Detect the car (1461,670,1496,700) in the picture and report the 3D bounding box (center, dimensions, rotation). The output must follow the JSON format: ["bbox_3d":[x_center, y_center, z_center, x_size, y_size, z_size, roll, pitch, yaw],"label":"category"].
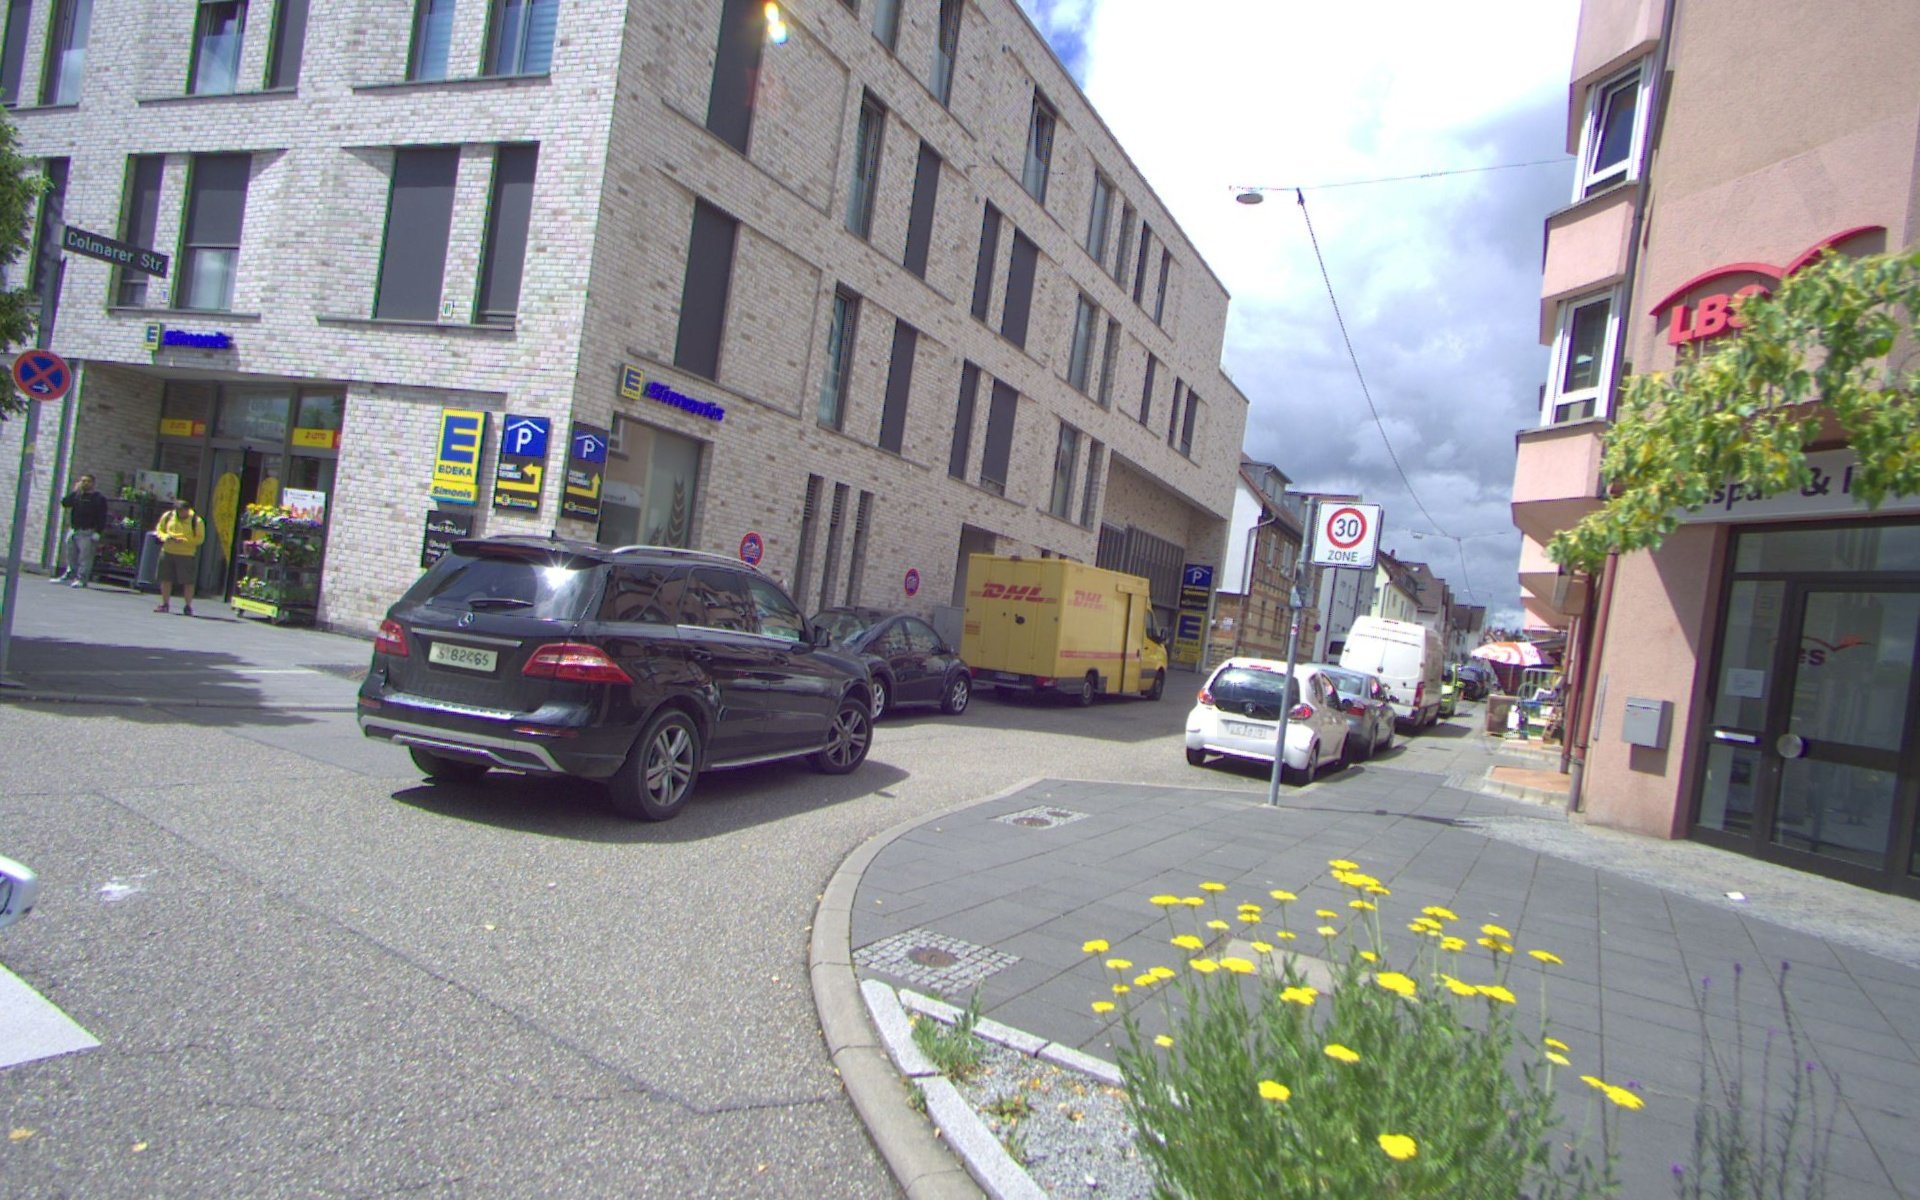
[{"bbox_3d":[33.777,5.524,65.541,1.604,1.662,3.769,8,0,31],"label":"car"}]

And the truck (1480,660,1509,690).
[{"bbox_3d":[43.802,6.150,82.370,1.604,2.161,5.378,8,0,31],"label":"truck"}]

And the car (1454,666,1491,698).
[{"bbox_3d":[31.237,4.967,61.285,1.604,1.662,3.769,8,0,31],"label":"car"}]

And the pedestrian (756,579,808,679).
[{"bbox_3d":[-2.985,0.499,16.890,0.592,1.591,0.523,7,-2,0],"label":"pedestrian"}]

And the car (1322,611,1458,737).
[{"bbox_3d":[10.987,1.861,25.410,2.092,2.585,5.893,8,0,31],"label":"car"}]

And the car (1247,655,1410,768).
[{"bbox_3d":[6.539,1.867,17.587,1.802,1.495,4.014,7,0,31],"label":"car"}]

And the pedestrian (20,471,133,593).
[{"bbox_3d":[-14.014,-1.052,15.983,0.647,1.762,1.018,7,0,16],"label":"pedestrian"}]

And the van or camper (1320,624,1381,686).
[{"bbox_3d":[20.611,2.937,52.956,2.019,2.737,5.160,6,-3,30],"label":"van or camper"}]

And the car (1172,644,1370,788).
[{"bbox_3d":[4.370,1.511,13.819,1.690,1.495,3.385,7,0,31],"label":"car"}]

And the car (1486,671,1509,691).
[{"bbox_3d":[51.937,7.823,97.147,1.604,1.662,3.769,8,0,31],"label":"car"}]

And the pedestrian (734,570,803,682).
[{"bbox_3d":[-3.081,0.428,16.252,0.801,1.690,0.556,7,-2,-1],"label":"pedestrian"}]

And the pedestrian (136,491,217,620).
[{"bbox_3d":[-11.103,-0.626,14.284,0.652,1.713,0.627,7,0,-30],"label":"pedestrian"}]

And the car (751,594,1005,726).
[{"bbox_3d":[-1.048,0.880,14.876,1.753,1.495,3.901,7,0,29],"label":"car"}]

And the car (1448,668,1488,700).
[{"bbox_3d":[28.500,4.717,56.413,1.604,1.495,3.769,7,0,31],"label":"car"}]

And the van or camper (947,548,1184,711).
[{"bbox_3d":[2.526,0.692,21.360,2.238,2.770,6.864,6,0,30],"label":"van or camper"}]

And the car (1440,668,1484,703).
[{"bbox_3d":[25.880,4.381,51.812,1.604,1.495,3.769,7,0,31],"label":"car"}]

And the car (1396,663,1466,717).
[{"bbox_3d":[15.938,3.015,33.920,1.604,1.495,3.769,7,0,31],"label":"car"}]

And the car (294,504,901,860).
[{"bbox_3d":[-2.305,0.517,7.921,1.962,1.768,4.532,7,0,18],"label":"car"}]
